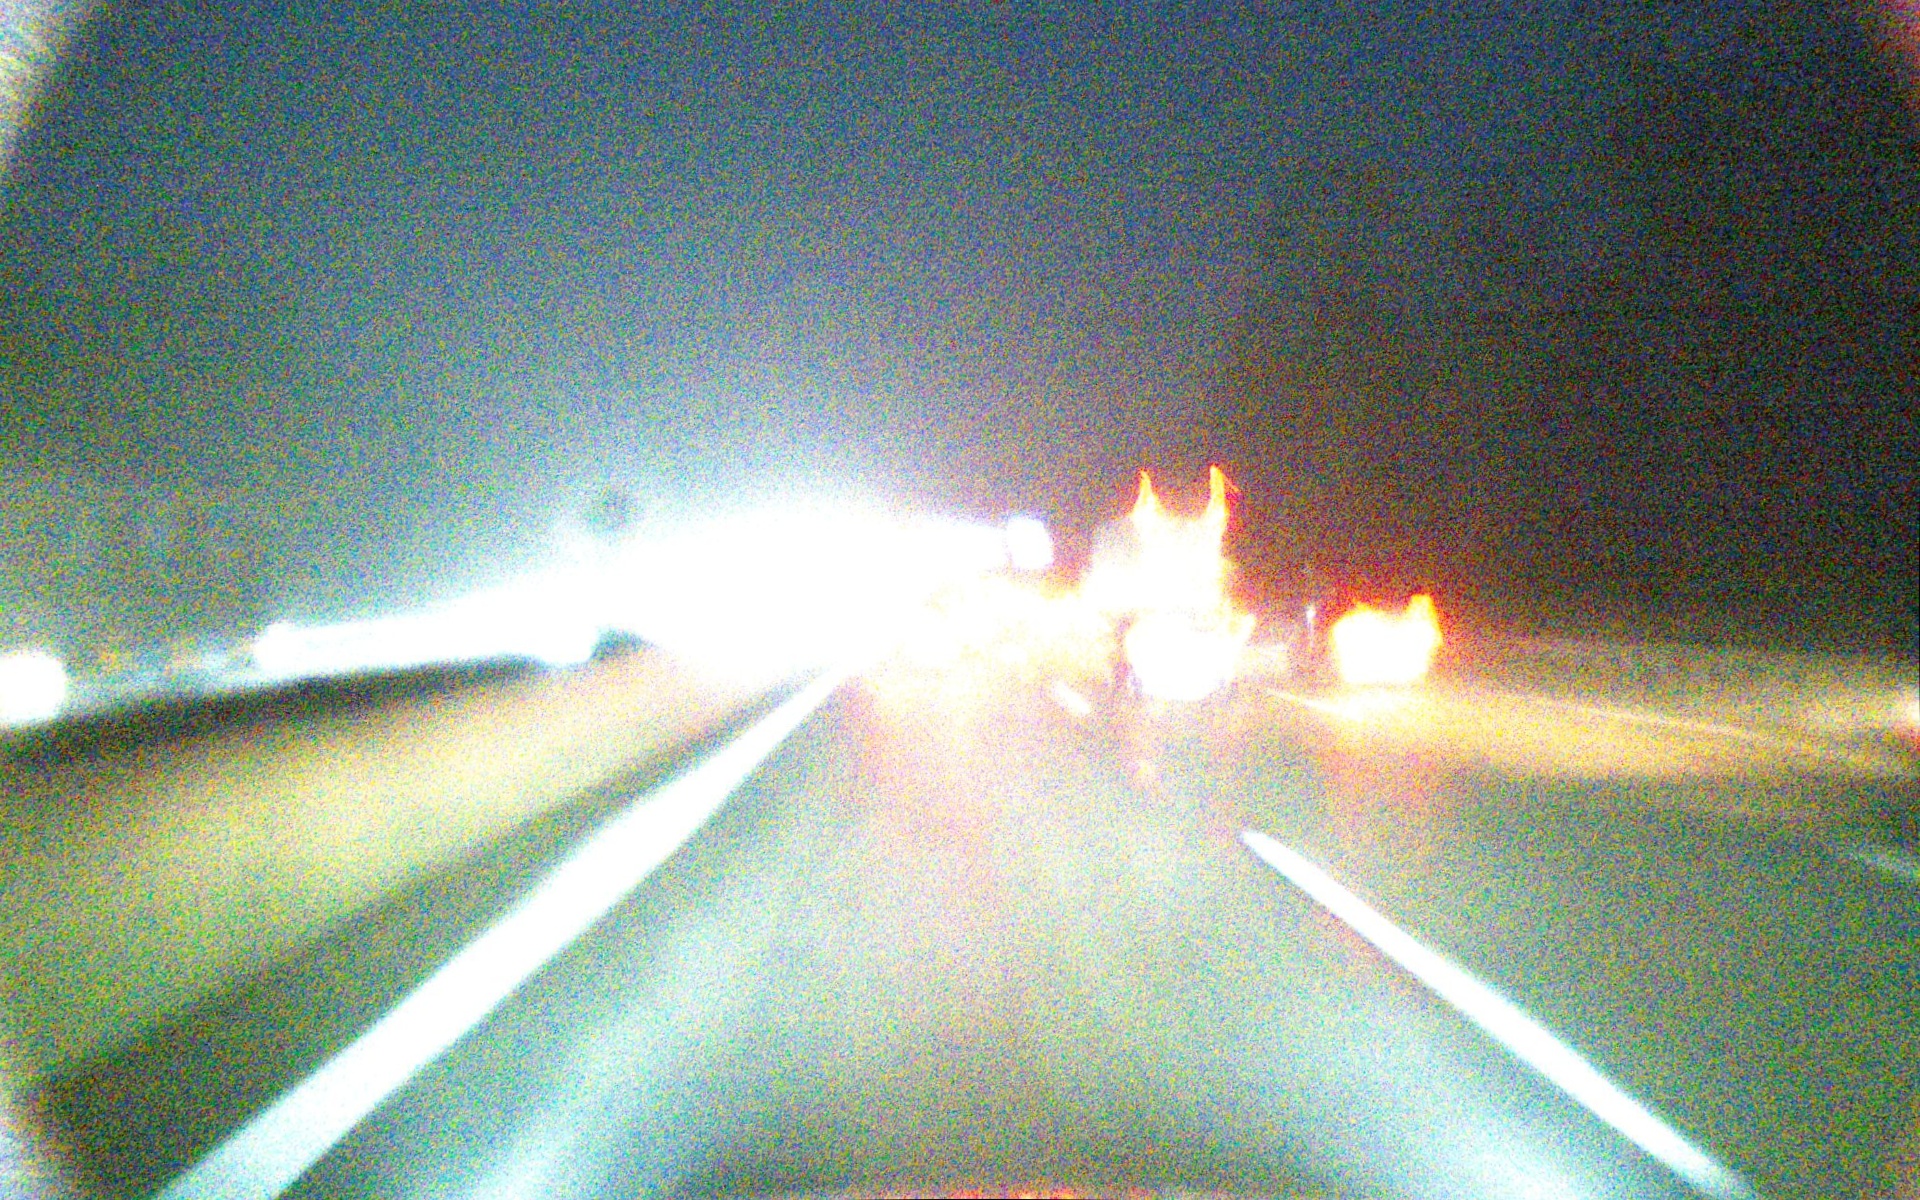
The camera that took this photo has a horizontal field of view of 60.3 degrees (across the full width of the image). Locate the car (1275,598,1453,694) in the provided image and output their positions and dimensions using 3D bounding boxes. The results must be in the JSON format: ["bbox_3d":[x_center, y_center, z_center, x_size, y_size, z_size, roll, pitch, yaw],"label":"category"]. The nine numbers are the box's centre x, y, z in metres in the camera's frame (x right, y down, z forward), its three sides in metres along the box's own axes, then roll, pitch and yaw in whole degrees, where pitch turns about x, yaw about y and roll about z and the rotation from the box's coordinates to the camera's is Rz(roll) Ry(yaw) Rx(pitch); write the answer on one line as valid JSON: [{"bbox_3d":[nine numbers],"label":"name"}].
[{"bbox_3d":[7.194,0.765,30.014,1.856,1.512,4.960,1,1,-2],"label":"car"}]

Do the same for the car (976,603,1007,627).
[{"bbox_3d":[2.214,1.038,117.066,2.093,1.646,4.000,1,0,0],"label":"car"}]

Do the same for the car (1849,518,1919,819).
[{"bbox_3d":[7.473,0.477,9.227,2.005,2.008,5.405,0,1,-2],"label":"car"}]

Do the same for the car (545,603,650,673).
[{"bbox_3d":[-8.492,0.860,39.104,1.644,1.472,4.285,-2,1,-2],"label":"car"}]

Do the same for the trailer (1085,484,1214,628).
[{"bbox_3d":[6.149,-1.337,55.724,2.747,4.286,12.094,1,0,-1],"label":"trailer"}]

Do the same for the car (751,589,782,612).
[{"bbox_3d":[-13.914,0.035,119.132,1.616,1.609,5.127,0,1,-1],"label":"car"}]

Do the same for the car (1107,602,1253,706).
[{"bbox_3d":[3.243,0.761,25.000,1.580,1.437,3.790,0,0,-2],"label":"car"}]

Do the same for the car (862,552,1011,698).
[{"bbox_3d":[-0.550,0.428,33.266,2.655,2.578,5.828,-2,1,-2],"label":"car"}]

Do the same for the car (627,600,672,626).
[{"bbox_3d":[-17.770,0.729,94.868,1.923,1.368,4.287,0,1,-2],"label":"car"}]

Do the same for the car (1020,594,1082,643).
[{"bbox_3d":[3.088,0.603,56.859,1.846,1.616,3.999,1,0,-1],"label":"car"}]

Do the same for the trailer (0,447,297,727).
[{"bbox_3d":[-16.450,-0.305,29.877,2.828,4.379,15.716,1,1,-1],"label":"trailer"}]

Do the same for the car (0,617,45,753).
[{"bbox_3d":[-12.450,1.075,18.913,1.644,1.625,4.347,-2,1,-2],"label":"car"}]
